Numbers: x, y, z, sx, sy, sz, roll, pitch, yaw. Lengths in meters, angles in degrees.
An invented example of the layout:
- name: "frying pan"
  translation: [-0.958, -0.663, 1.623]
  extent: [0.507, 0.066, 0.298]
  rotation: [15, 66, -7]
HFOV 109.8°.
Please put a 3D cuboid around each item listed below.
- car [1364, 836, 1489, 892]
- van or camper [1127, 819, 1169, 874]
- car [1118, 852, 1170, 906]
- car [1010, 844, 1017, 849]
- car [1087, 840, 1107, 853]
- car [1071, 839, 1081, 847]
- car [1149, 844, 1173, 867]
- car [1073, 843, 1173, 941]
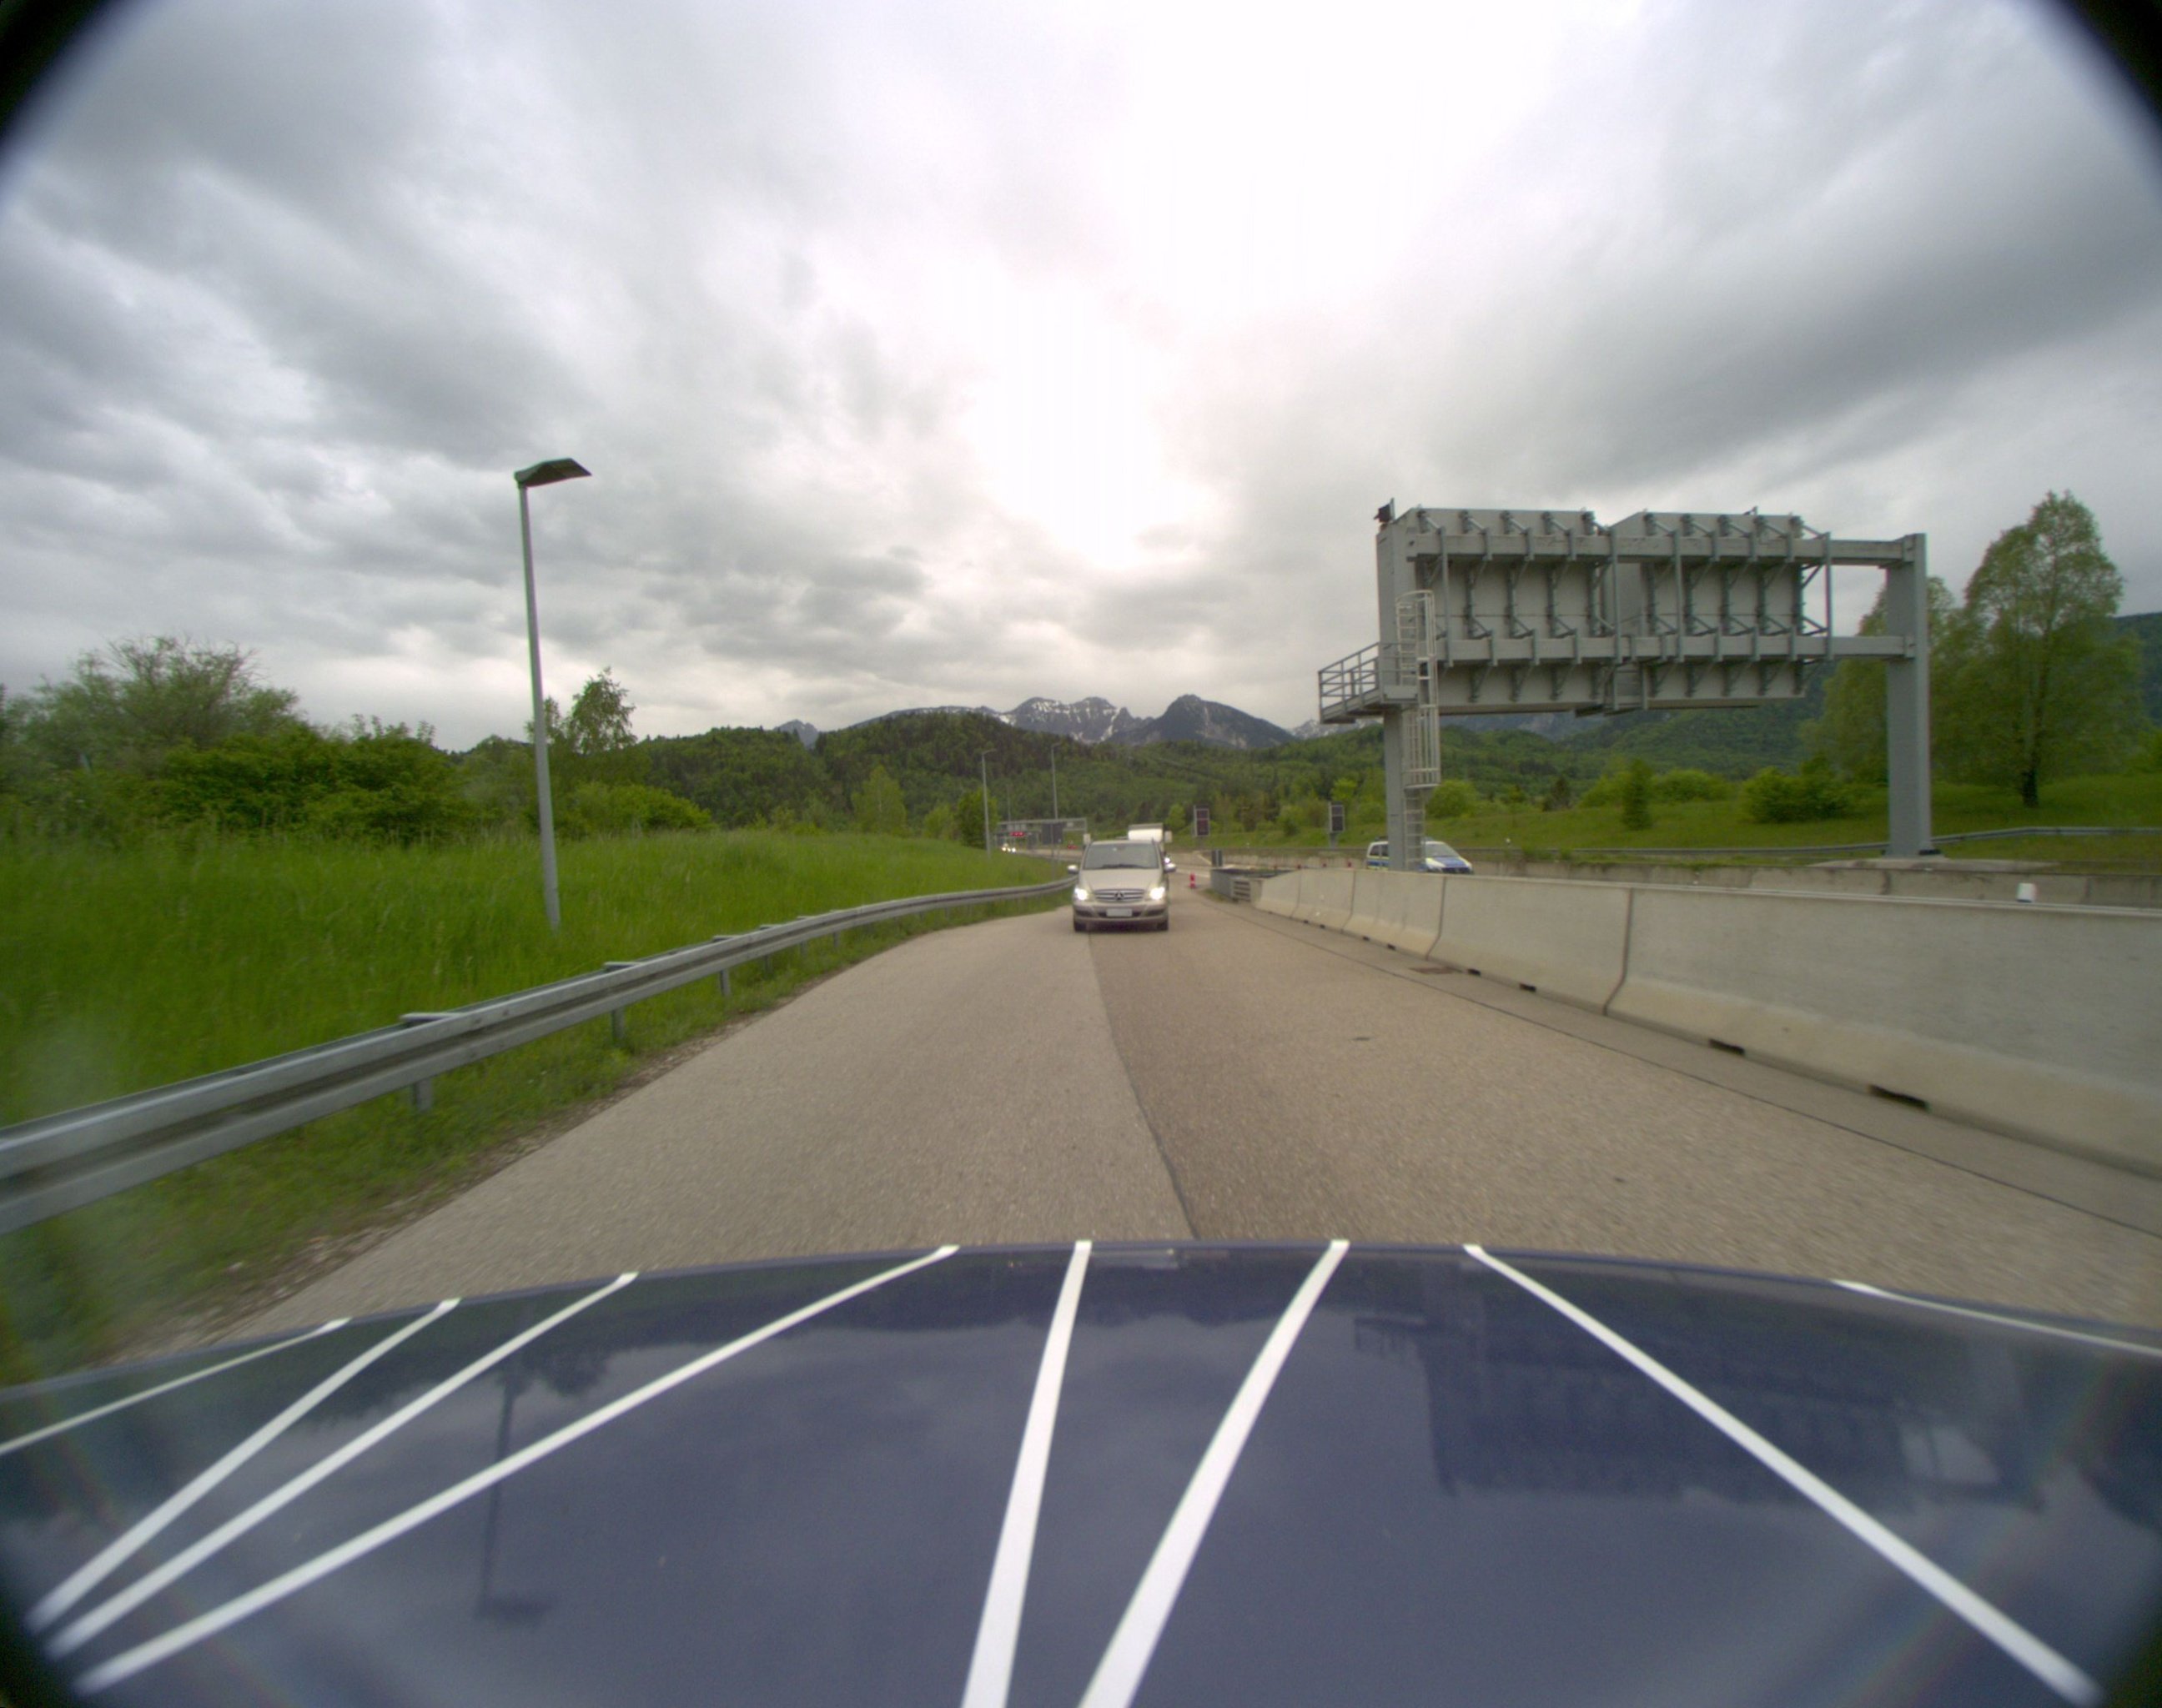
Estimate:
- name: "car"
  translation: [13.546, 0.337, 30.195]
  extent: [2.105, 2.002, 5.047]
  rotation: [-1, 1, -8]
- name: "van or camper"
  translation: [4.554, -0.528, 51.234]
  extent: [2.581, 3.372, 7.357]
  rotation: [-1, 1, 5]
- name: "car"
  translation: [2.146, 0.784, 25.458]
  extent: [1.590, 1.662, 4.002]
  rotation: [-1, 0, 6]
- name: "car"
  translation: [-20.348, -2.213, 228.392]
  extent: [1.738, 1.647, 3.996]
  rotation: [-1, 1, -8]
- name: "car"
  translation: [1.989, -0.914, 97.075]
  extent: [1.721, 1.629, 4.344]
  rotation: [-1, 1, -10]
- name: "car"
  translation: [-1.387, -2.904, 204.058]
  extent: [1.740, 1.935, 4.169]
  rotation: [-2, 1, -11]
- name: "car"
  translation: [6.623, 0.069, 62.991]
  extent: [1.741, 1.755, 4.000]
  rotation: [-4, 1, 4]
- name: "car"
  translation: [1.025, 0.677, 17.024]
  extent: [1.861, 1.833, 5.618]
  rotation: [0, 1, 5]
